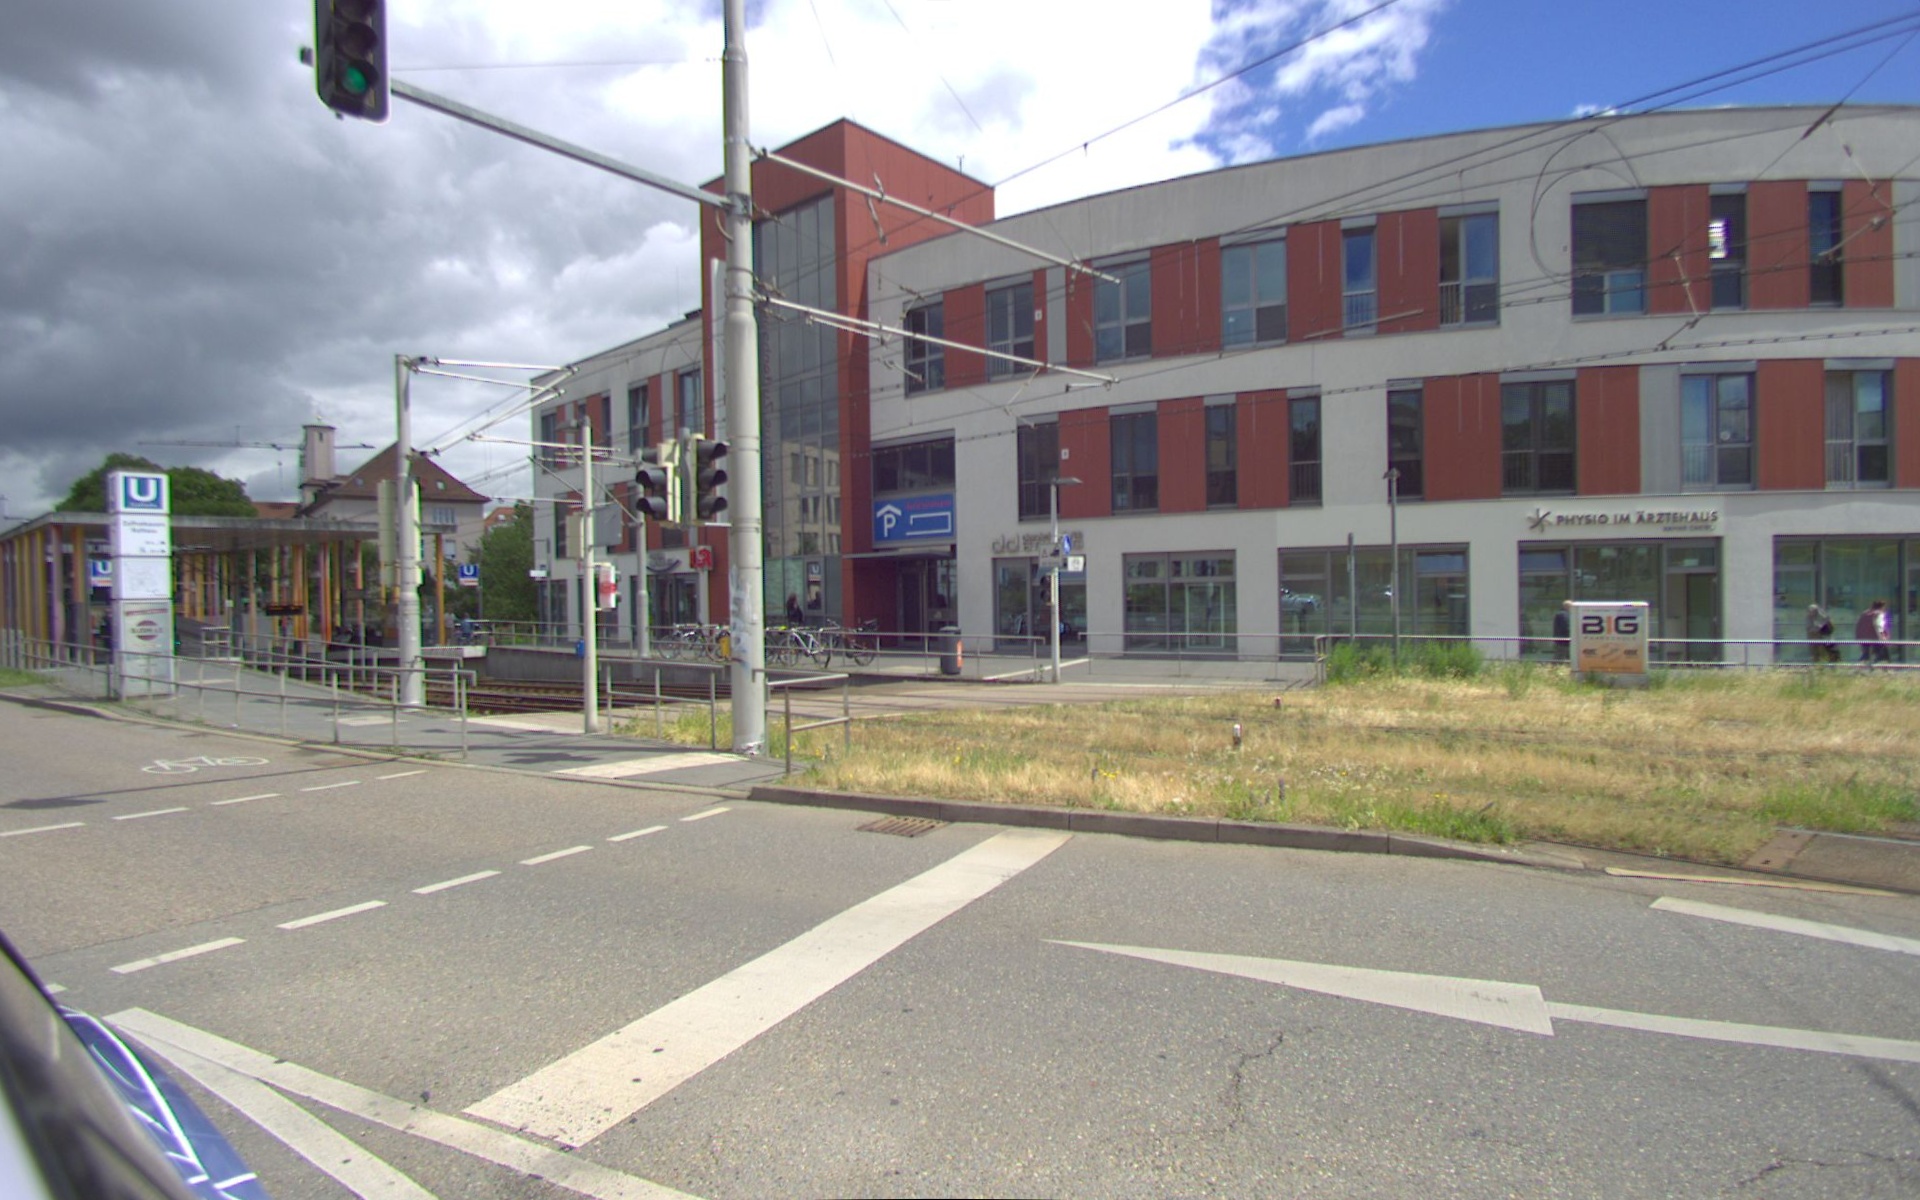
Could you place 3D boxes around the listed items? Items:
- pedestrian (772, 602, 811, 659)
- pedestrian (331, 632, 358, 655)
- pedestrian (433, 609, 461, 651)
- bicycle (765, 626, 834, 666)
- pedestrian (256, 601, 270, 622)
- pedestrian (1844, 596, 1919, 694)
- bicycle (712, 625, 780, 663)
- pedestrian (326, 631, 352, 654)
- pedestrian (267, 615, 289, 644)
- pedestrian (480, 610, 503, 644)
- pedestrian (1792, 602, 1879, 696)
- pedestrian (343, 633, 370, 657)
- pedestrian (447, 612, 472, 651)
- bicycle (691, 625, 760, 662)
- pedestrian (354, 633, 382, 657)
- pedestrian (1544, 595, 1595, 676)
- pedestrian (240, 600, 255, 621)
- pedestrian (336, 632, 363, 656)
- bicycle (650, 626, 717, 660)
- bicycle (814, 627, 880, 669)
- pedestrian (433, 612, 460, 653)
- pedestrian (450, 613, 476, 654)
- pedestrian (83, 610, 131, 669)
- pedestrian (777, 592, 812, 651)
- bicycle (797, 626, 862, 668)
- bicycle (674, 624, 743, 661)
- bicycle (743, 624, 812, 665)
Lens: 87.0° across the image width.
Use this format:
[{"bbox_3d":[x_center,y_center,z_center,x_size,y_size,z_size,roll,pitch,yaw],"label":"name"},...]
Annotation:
[{"bbox_3d":[-5.154,0.937,30.939,0.928,1.711,0.784,0,-1,18],"label":"pedestrian"},{"bbox_3d":[-30.801,2.174,50.625,0.886,1.143,0.931,-2,-1,42],"label":"pedestrian"},{"bbox_3d":[-24.748,1.421,48.796,1.106,1.983,0.852,0,-1,43],"label":"pedestrian"},{"bbox_3d":[-4.053,1.152,25.706,0.454,0.942,1.837,-1,0,43],"label":"bicycle"},{"bbox_3d":[-67.579,1.088,98.094,1.108,2.029,1.664,0,-1,-35],"label":"pedestrian"},{"bbox_3d":[19.179,0.915,20.895,1.094,1.983,0.861,0,-1,11],"label":"pedestrian"},{"bbox_3d":[-5.695,1.153,26.989,1.836,0.946,0.455,0,0,-45],"label":"bicycle"},{"bbox_3d":[-31.564,2.141,51.429,0.886,1.143,0.931,-2,-1,42],"label":"pedestrian"},{"bbox_3d":[-48.277,2.078,71.591,1.112,2.029,1.180,0,-2,-44],"label":"pedestrian"},{"bbox_3d":[-27.583,1.596,59.587,1.087,1.983,0.867,1,-1,-18],"label":"pedestrian"},{"bbox_3d":[18.844,1.039,21.812,1.104,1.983,0.862,0,-1,10],"label":"pedestrian"},{"bbox_3d":[-29.394,2.166,49.272,0.886,1.143,0.931,-2,-1,42],"label":"pedestrian"},{"bbox_3d":[-25.575,1.584,51.692,0.852,1.983,1.107,1,-1,-44],"label":"pedestrian"},{"bbox_3d":[-6.367,1.167,27.588,1.835,0.929,0.455,0,0,-42],"label":"bicycle"},{"bbox_3d":[-28.546,2.166,48.798,0.886,1.143,0.931,-2,-1,42],"label":"pedestrian"},{"bbox_3d":[12.221,0.711,20.322,0.685,1.592,0.731,-1,-1,17],"label":"pedestrian"},{"bbox_3d":[-71.934,1.069,102.126,1.112,2.029,0.816,0,-2,-44],"label":"pedestrian"},{"bbox_3d":[-30.111,2.170,49.907,0.886,1.143,0.931,-2,-1,42],"label":"pedestrian"},{"bbox_3d":[-7.873,1.207,28.835,1.834,0.888,0.455,0,0,-41],"label":"bicycle"},{"bbox_3d":[-2.734,1.151,24.676,0.428,0.959,1.716,-1,0,43],"label":"bicycle"},{"bbox_3d":[-25.027,1.578,49.331,0.852,1.983,1.107,1,-1,-44],"label":"pedestrian"},{"bbox_3d":[-24.503,1.618,49.912,0.852,1.983,1.107,1,-1,-44],"label":"pedestrian"},{"bbox_3d":[-28.266,1.287,33.542,0.864,1.929,1.090,0,-1,42],"label":"pedestrian"},{"bbox_3d":[-5.309,0.682,32.486,0.856,1.859,0.876,0,1,13],"label":"pedestrian"},{"bbox_3d":[-3.222,1.151,25.079,0.428,0.965,1.716,-1,0,43],"label":"bicycle"},{"bbox_3d":[-6.980,1.170,28.147,1.835,0.939,0.455,0,0,-41],"label":"bicycle"},{"bbox_3d":[-4.736,1.141,26.341,0.454,0.970,1.837,-1,0,43],"label":"bicycle"}]
